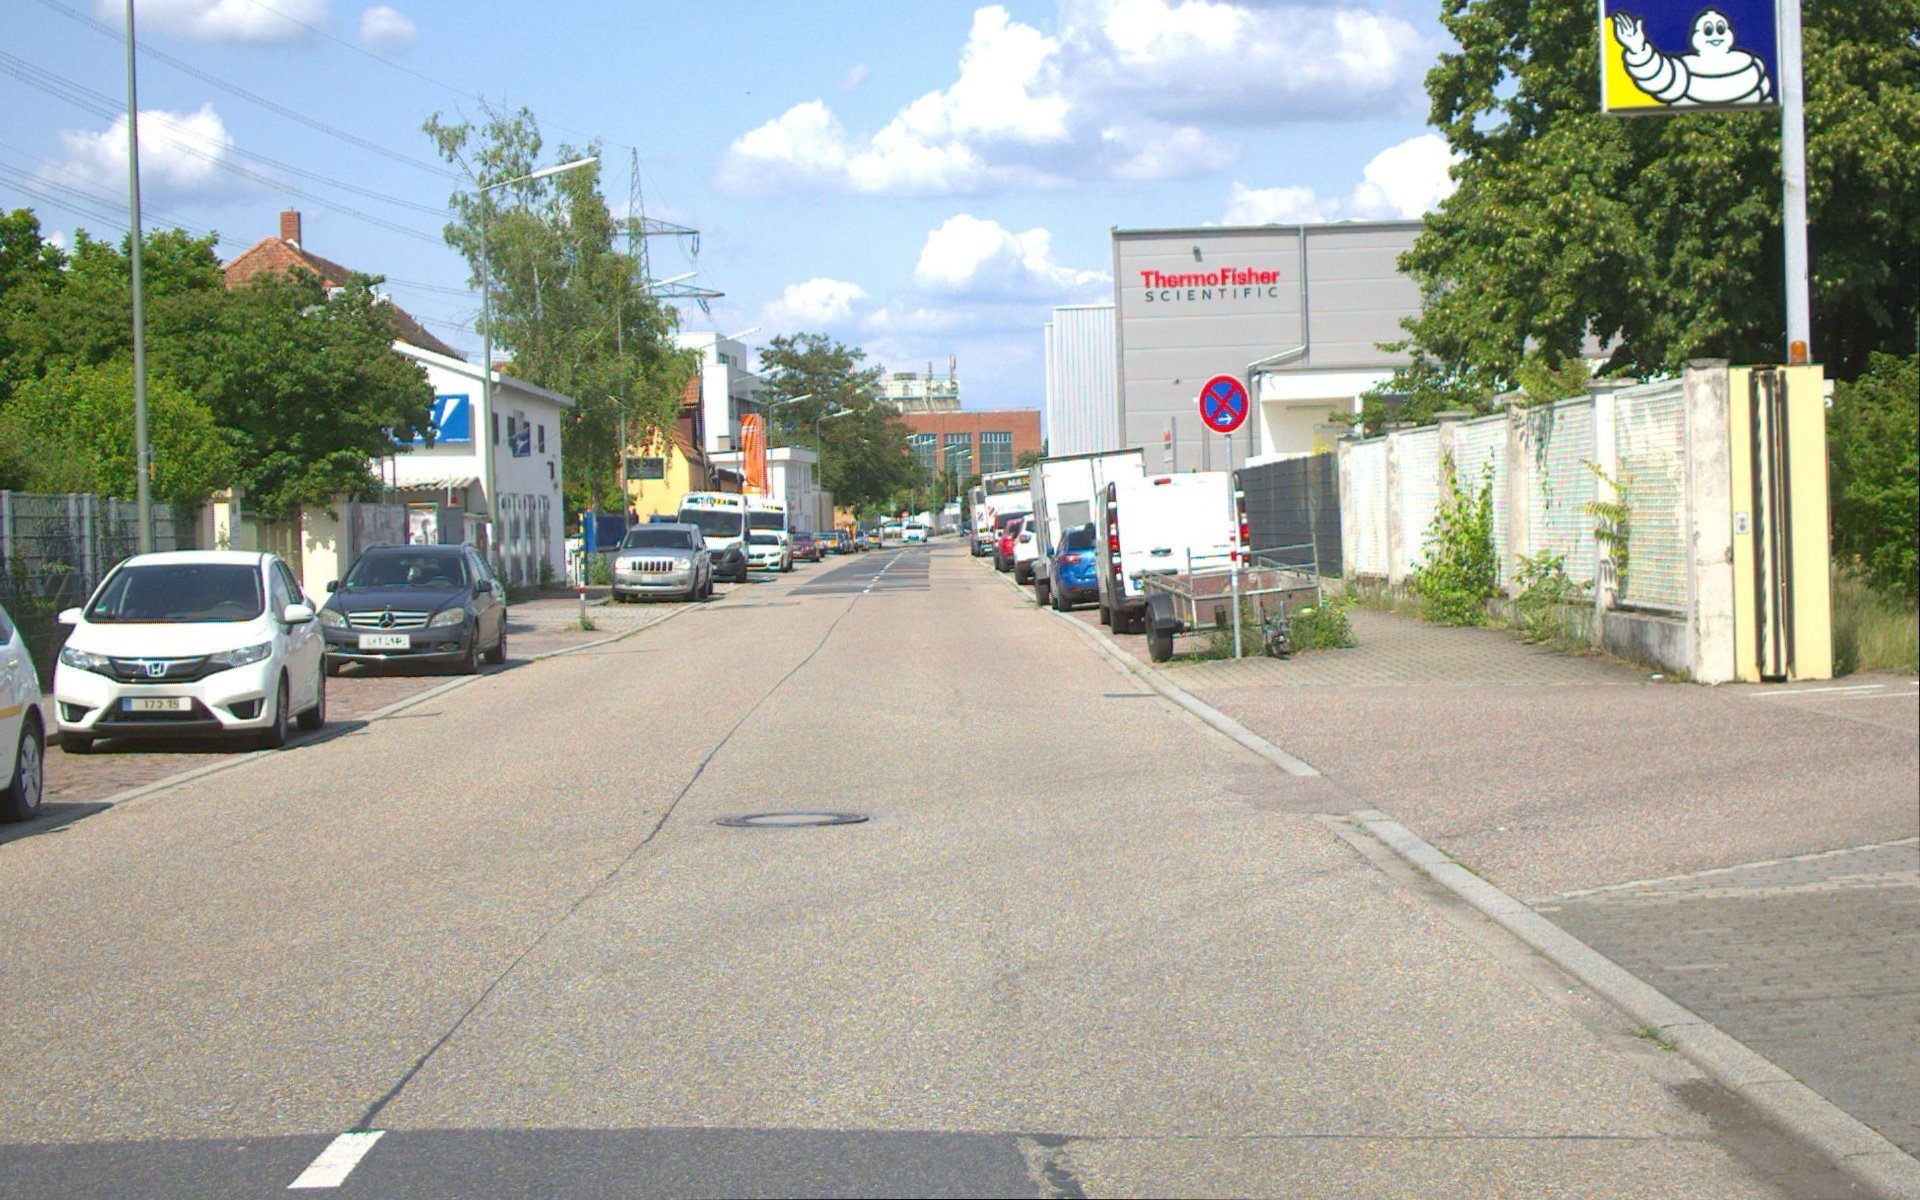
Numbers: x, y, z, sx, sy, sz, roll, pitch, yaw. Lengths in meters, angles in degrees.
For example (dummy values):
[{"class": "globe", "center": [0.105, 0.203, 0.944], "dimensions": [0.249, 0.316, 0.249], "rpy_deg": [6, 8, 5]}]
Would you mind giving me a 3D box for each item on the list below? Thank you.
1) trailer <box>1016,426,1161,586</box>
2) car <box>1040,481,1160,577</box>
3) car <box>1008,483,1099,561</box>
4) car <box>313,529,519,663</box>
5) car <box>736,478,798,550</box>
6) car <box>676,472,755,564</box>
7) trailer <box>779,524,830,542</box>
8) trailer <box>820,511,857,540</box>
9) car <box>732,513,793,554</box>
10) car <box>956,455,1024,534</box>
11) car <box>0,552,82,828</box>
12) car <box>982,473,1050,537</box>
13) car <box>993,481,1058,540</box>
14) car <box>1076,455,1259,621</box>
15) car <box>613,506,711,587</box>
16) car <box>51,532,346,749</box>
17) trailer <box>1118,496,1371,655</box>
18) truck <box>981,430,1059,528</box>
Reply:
[{"class": "trailer", "center": [2.383, -1.768, 65.316], "dimensions": [2.204, 2.727, 6.222], "rpy_deg": [-5, 1, -1]}, {"class": "car", "center": [2.357, -1.213, 58.642], "dimensions": [1.690, 1.455, 4.071], "rpy_deg": [-4, 1, -1]}, {"class": "car", "center": [2.249, -1.930, 83.803], "dimensions": [1.935, 1.687, 4.680], "rpy_deg": [-5, 2, 0]}, {"class": "car", "center": [-6.231, -0.087, 39.802], "dimensions": [1.805, 1.413, 4.497], "rpy_deg": [0, 2, -2]}, {"class": "car", "center": [-7.043, -3.143, 125.966], "dimensions": [2.026, 2.552, 6.841], "rpy_deg": [0, 1, -1]}, {"class": "car", "center": [-7.005, -2.354, 99.147], "dimensions": [2.029, 2.549, 6.658], "rpy_deg": [0, 1, -2]}, {"class": "trailer", "center": [-7.960, -3.451, 176.530], "dimensions": [2.362, 0.890, 5.569], "rpy_deg": [0, 1, 0]}, {"class": "trailer", "center": [-6.977, -4.278, 197.549], "dimensions": [1.993, 1.551, 4.254], "rpy_deg": [-1, 2, 0]}, {"class": "car", "center": [-6.809, -2.311, 118.826], "dimensions": [1.796, 1.392, 4.502], "rpy_deg": [0, 1, 1]}, {"class": "car", "center": [1.353, -4.834, 158.734], "dimensions": [2.388, 3.351, 6.646], "rpy_deg": [-5, 2, -3]}, {"class": "car", "center": [-6.004, 0.520, 18.340], "dimensions": [1.645, 1.472, 4.029], "rpy_deg": [-2, 1, -1]}, {"class": "car", "center": [1.791, -3.075, 110.391], "dimensions": [2.054, 1.896, 5.147], "rpy_deg": [-3, 2, 1]}, {"class": "car", "center": [1.963, -2.692, 103.970], "dimensions": [1.704, 1.618, 4.093], "rpy_deg": [-5, 1, -1]}, {"class": "car", "center": [2.719, -0.863, 46.297], "dimensions": [1.993, 2.006, 5.650], "rpy_deg": [-2, 2, 0]}, {"class": "car", "center": [-6.589, -1.215, 76.464], "dimensions": [1.790, 1.713, 4.752], "rpy_deg": [1, 2, 0]}, {"class": "car", "center": [-6.015, 0.261, 27.587], "dimensions": [1.620, 1.517, 4.176], "rpy_deg": [-2, 2, -3]}, {"class": "trailer", "center": [2.891, -0.280, 35.923], "dimensions": [1.749, 1.412, 4.550], "rpy_deg": [-5, 1, -5]}, {"class": "truck", "center": [2.198, -4.470, 127.809], "dimensions": [2.458, 3.282, 6.818], "rpy_deg": [-7, 1, 0]}]
